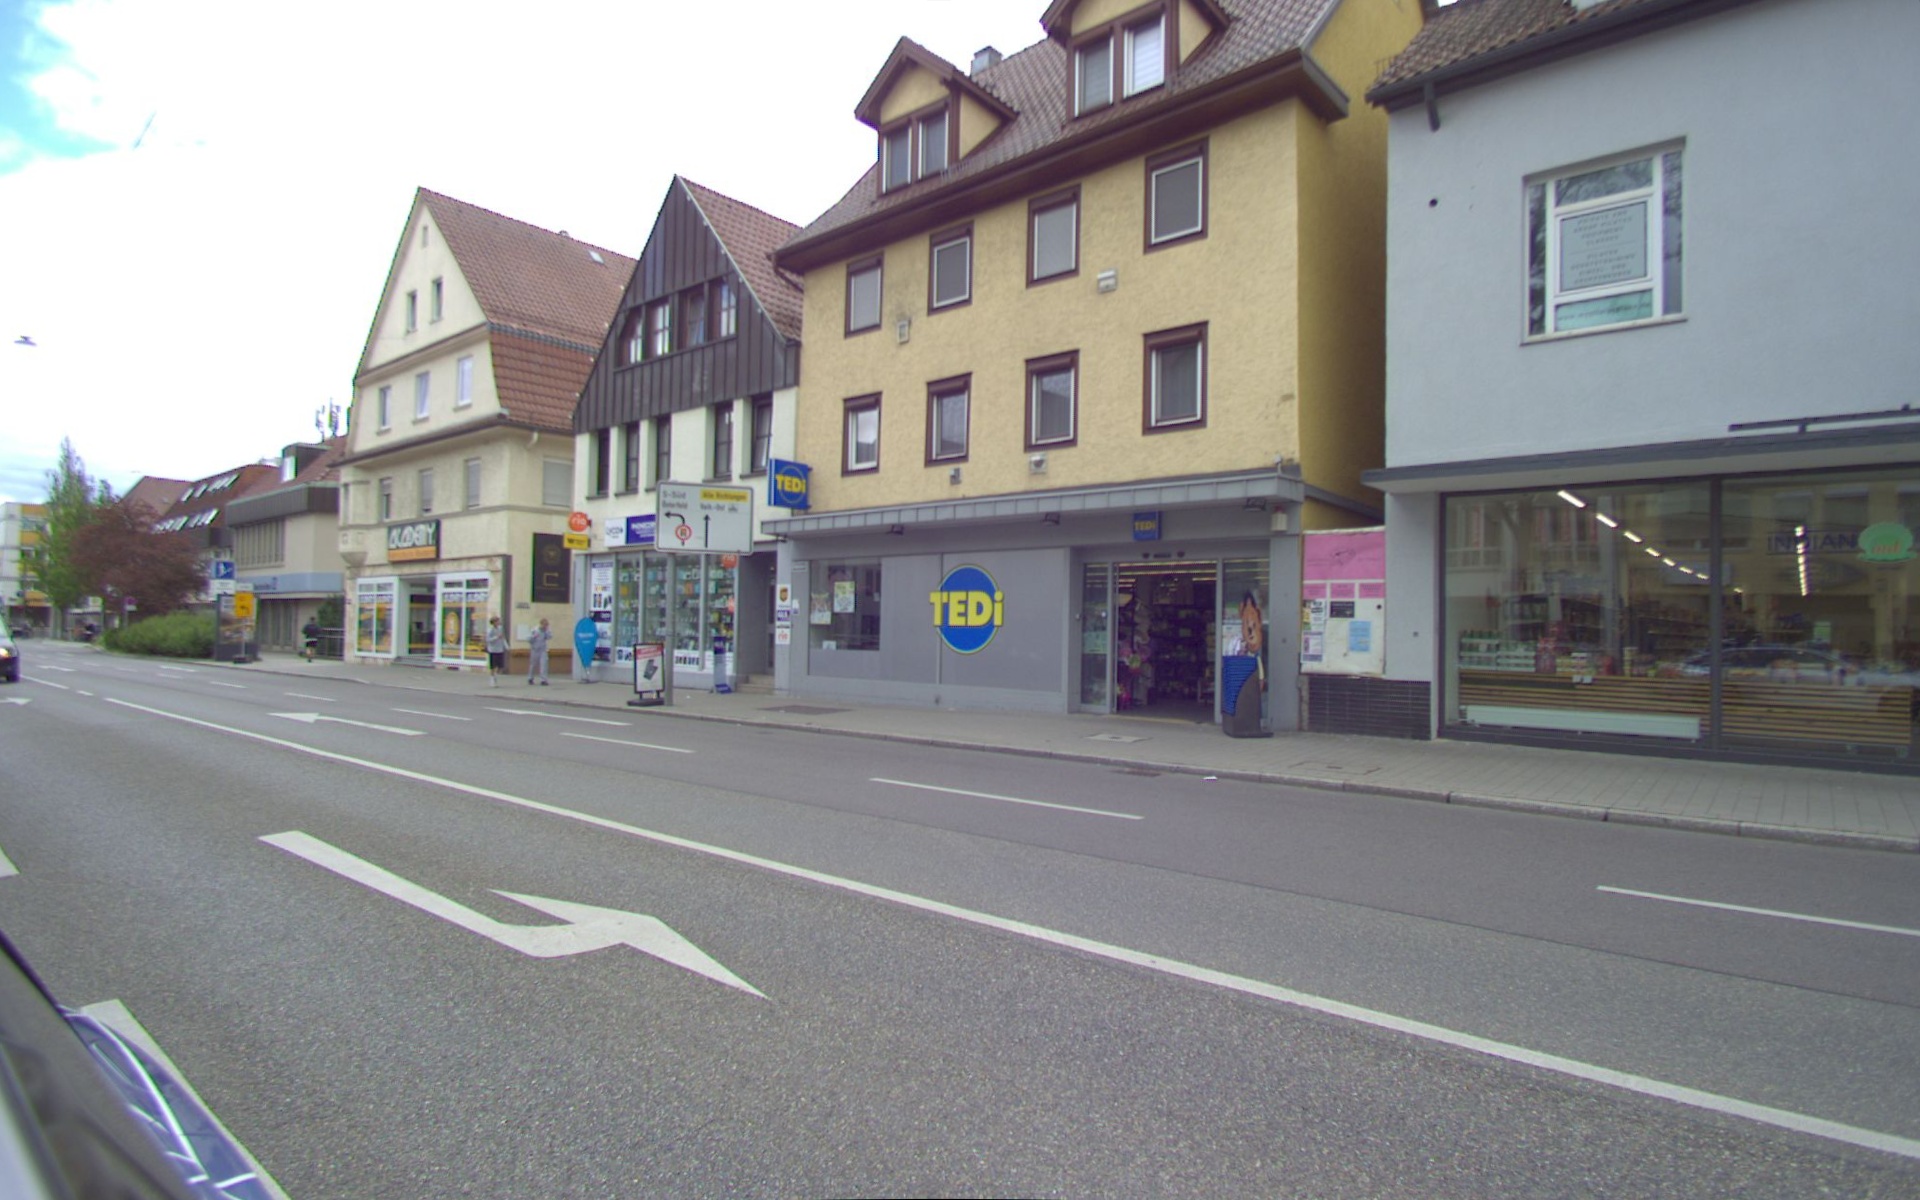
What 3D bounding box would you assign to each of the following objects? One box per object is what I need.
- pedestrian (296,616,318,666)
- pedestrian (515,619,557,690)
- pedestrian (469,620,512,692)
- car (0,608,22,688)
[{"bbox_3d":[-25.496,1.600,39.523,0.592,1.903,0.544,-1,-1,37],"label":"pedestrian"},{"bbox_3d":[-10.349,1.319,24.705,0.709,1.683,0.680,-2,0,41],"label":"pedestrian"},{"bbox_3d":[-11.256,1.326,24.268,0.742,1.703,0.680,-2,-2,41],"label":"pedestrian"},{"bbox_3d":[-24.265,1.155,24.622,4.632,1.869,1.726,-1,-1,42],"label":"car"}]
